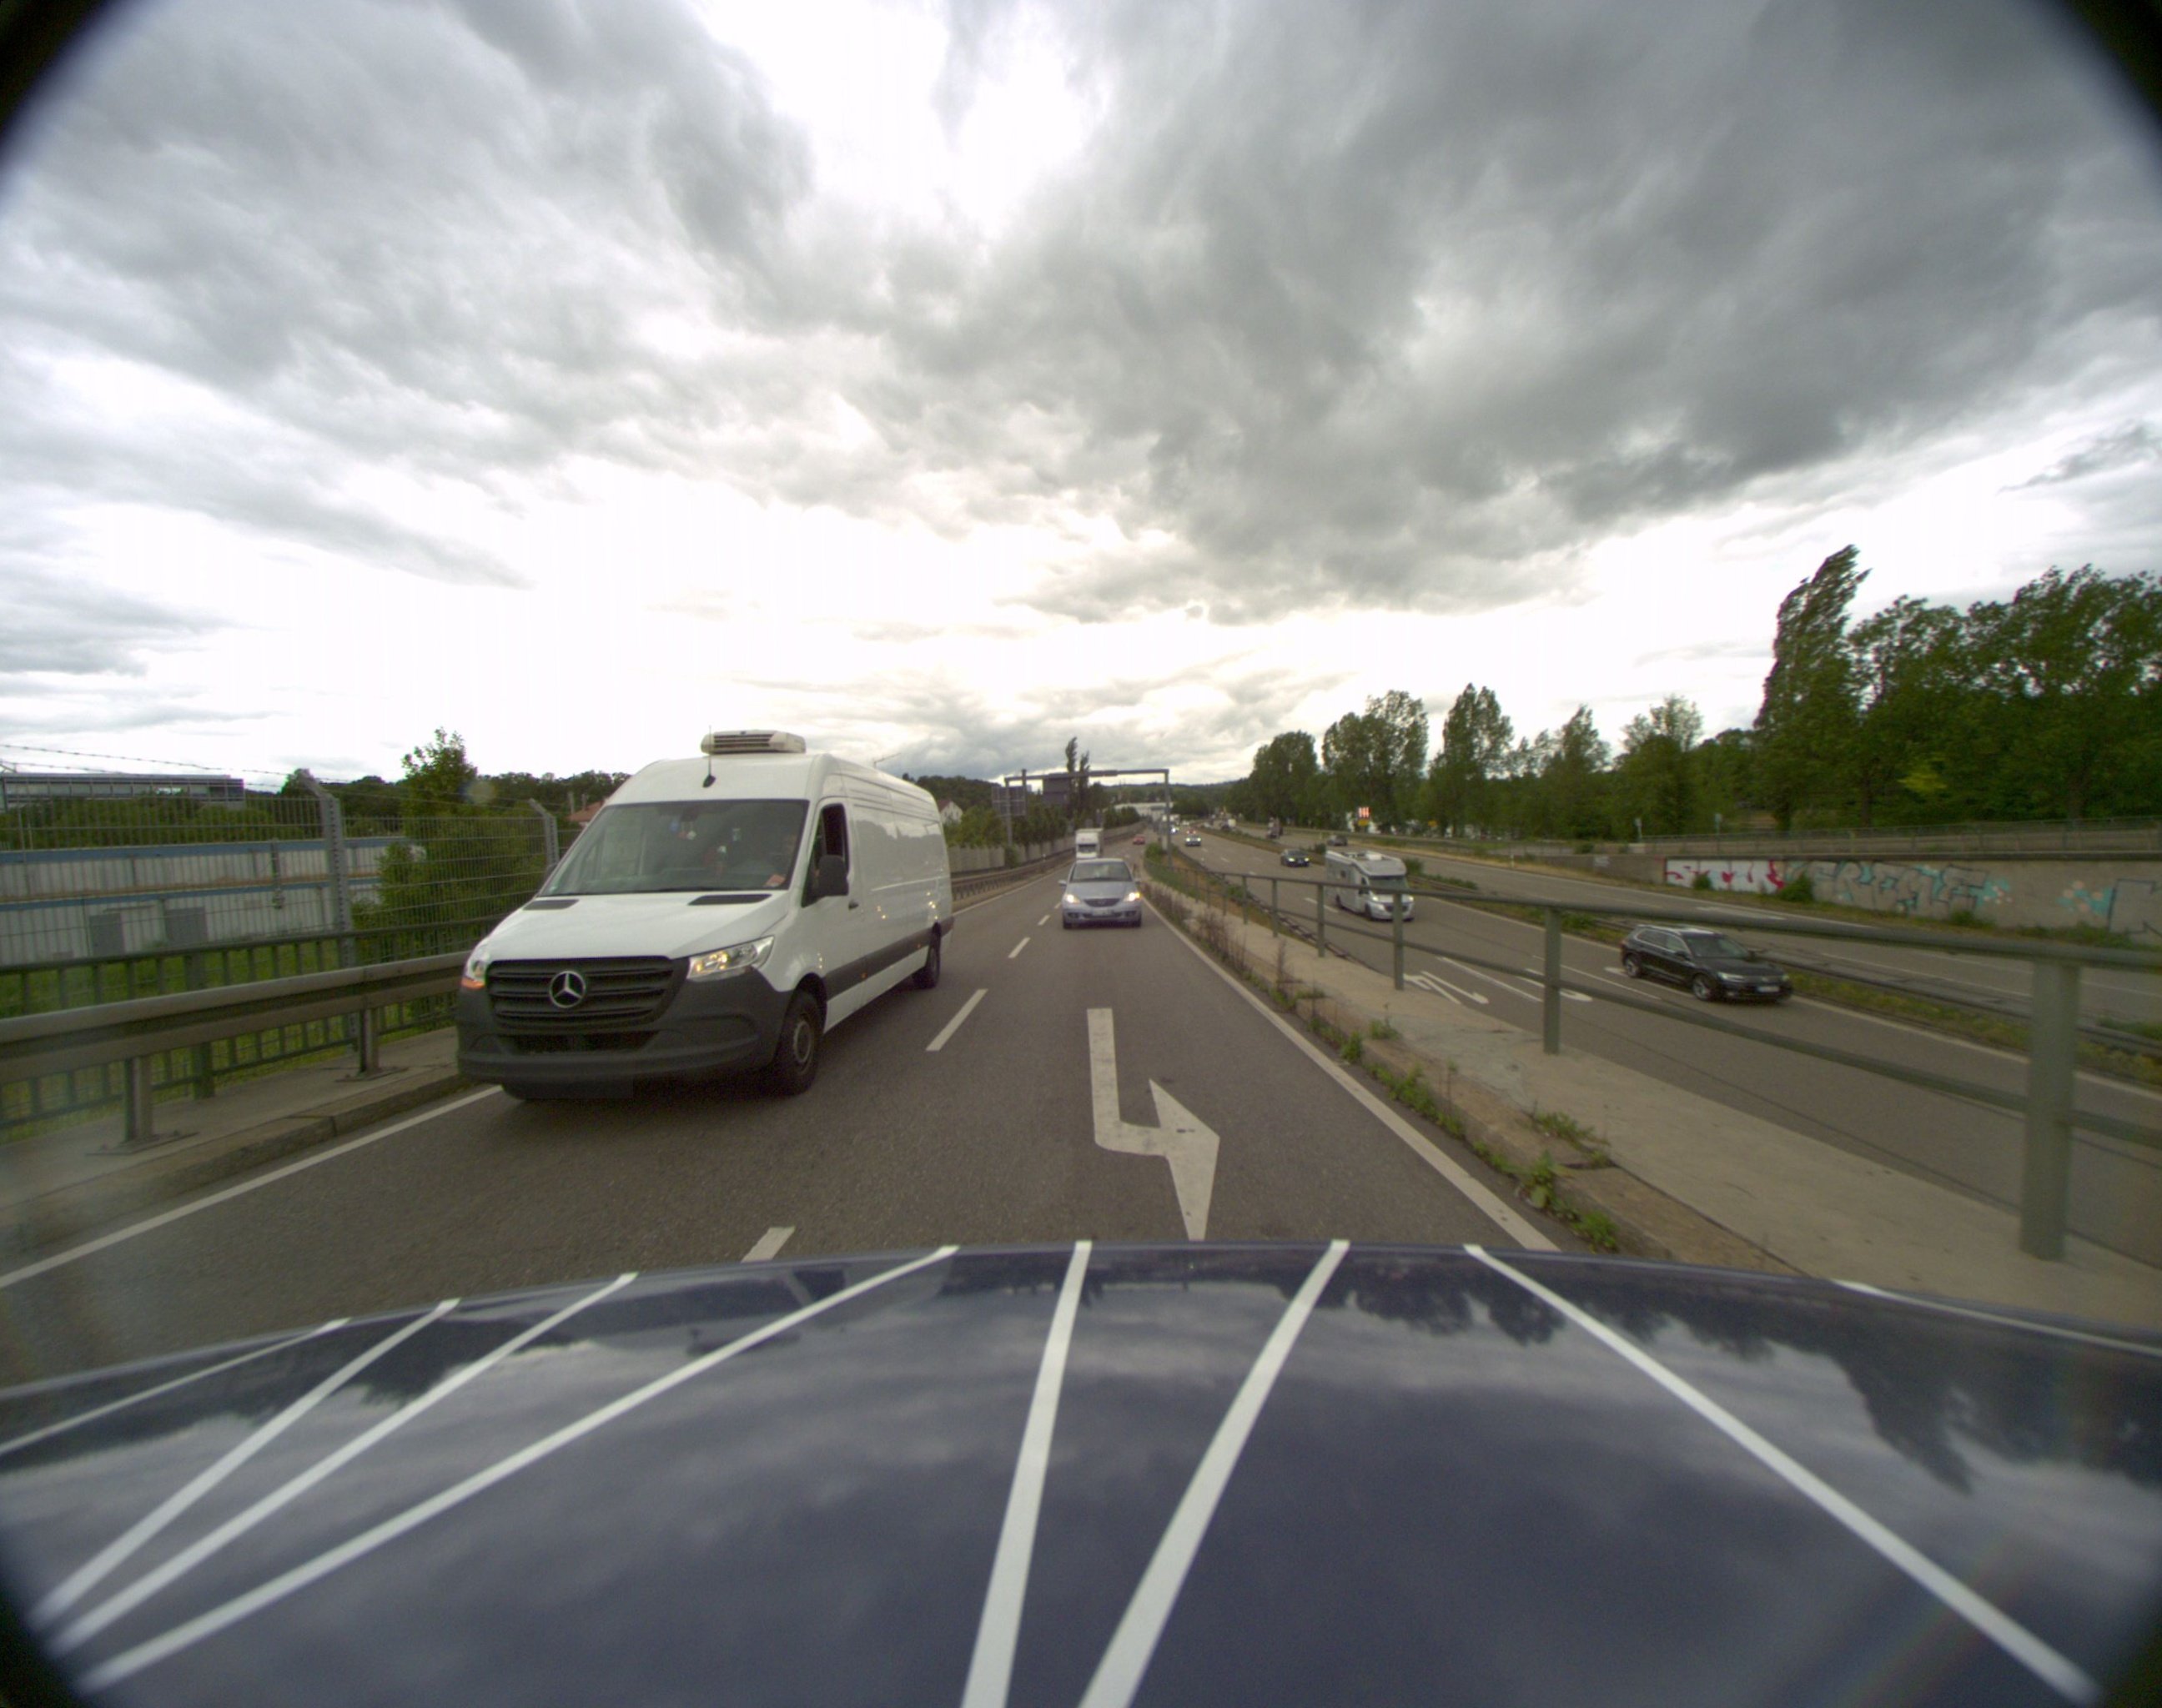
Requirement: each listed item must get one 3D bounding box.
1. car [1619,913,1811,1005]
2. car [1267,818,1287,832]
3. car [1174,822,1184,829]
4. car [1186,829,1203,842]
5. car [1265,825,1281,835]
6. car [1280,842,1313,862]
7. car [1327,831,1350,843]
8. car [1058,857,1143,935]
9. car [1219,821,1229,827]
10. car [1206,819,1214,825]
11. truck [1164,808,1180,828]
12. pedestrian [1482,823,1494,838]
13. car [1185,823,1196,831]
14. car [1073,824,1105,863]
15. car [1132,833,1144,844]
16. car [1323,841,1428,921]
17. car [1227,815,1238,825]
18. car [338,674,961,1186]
[{"bbox_3d":[17.396,2.808,21.181,1.845,1.704,4.277,-1,4,2],"label":"car"},{"bbox_3d":[36.761,-5.464,142.726,2.249,2.533,6.110,-2,3,1],"label":"car"},{"bbox_3d":[24.509,-7.121,190.097,1.920,1.411,4.274,-2,4,3],"label":"car"},{"bbox_3d":[15.695,-2.539,105.407,1.845,1.789,4.280,-2,1,2],"label":"car"},{"bbox_3d":[31.784,-4.030,125.825,1.668,1.493,3.856,-1,4,2],"label":"car"},{"bbox_3d":[19.148,-0.204,67.669,1.753,1.562,4.217,-2,3,2],"label":"car"},{"bbox_3d":[33.492,-2.189,98.943,1.715,1.368,4.108,0,4,1],"label":"car"},{"bbox_3d":[0.458,0.919,18.386,1.780,1.578,4.000,-2,1,1],"label":"car"},{"bbox_3d":[38.023,-7.961,202.101,1.903,1.641,4.331,-1,4,2],"label":"car"},{"bbox_3d":[38.460,-9.510,227.396,1.761,1.641,3.929,-2,4,1],"label":"car"},{"bbox_3d":[19.567,-7.763,164.448,2.758,4.229,6.694,-1,4,1],"label":"truck"},{"bbox_3d":[49.000,-2.855,91.440,0.831,1.696,1.077,-2,4,2],"label":"pedestrian"},{"bbox_3d":[22.122,-5.478,153.779,1.756,1.433,4.162,-2,5,3],"label":"car"},{"bbox_3d":[0.824,-0.981,70.587,2.665,3.311,7.090,-2,1,2],"label":"car"},{"bbox_3d":[8.662,-2.346,115.542,1.780,1.578,4.000,-2,1,3],"label":"car"},{"bbox_3d":[14.342,1.129,37.710,2.367,3.223,7.656,0,4,2],"label":"car"},{"bbox_3d":[44.155,-9.919,221.204,2.215,2.765,5.357,-1,4,2],"label":"car"},{"bbox_3d":[-2.919,0.406,7.590,2.115,2.767,6.779,-2,1,1],"label":"car"}]
